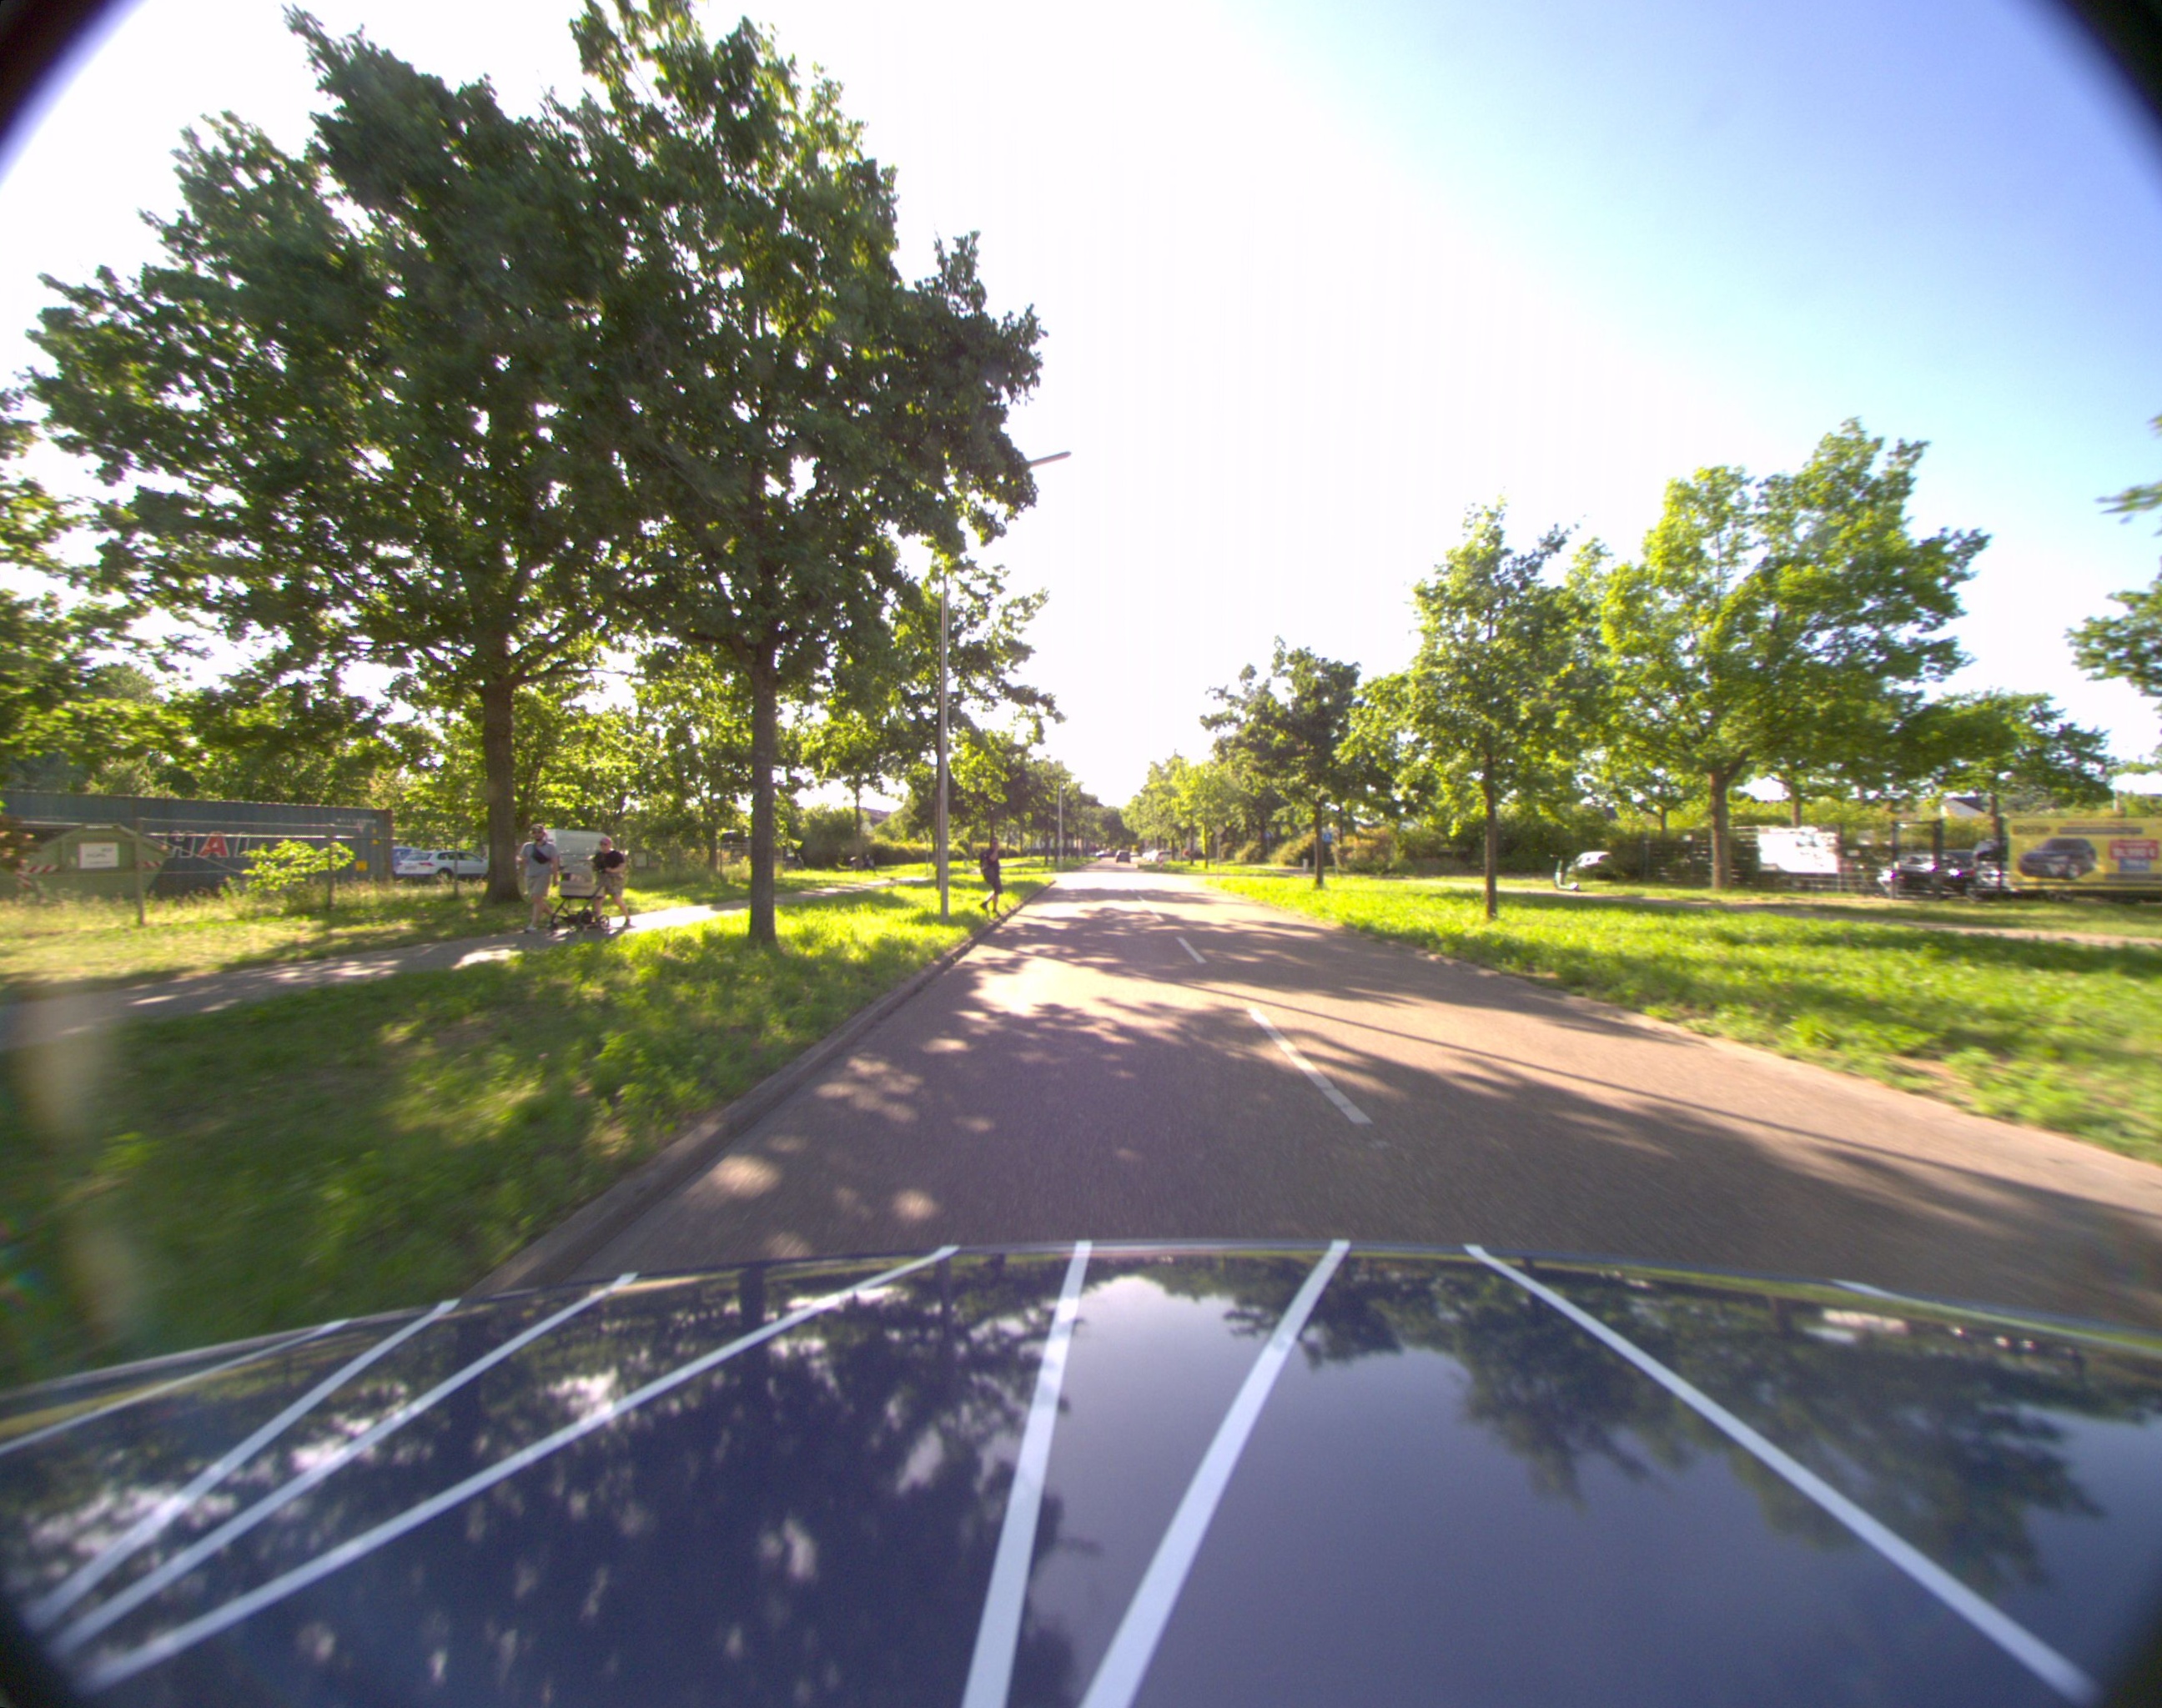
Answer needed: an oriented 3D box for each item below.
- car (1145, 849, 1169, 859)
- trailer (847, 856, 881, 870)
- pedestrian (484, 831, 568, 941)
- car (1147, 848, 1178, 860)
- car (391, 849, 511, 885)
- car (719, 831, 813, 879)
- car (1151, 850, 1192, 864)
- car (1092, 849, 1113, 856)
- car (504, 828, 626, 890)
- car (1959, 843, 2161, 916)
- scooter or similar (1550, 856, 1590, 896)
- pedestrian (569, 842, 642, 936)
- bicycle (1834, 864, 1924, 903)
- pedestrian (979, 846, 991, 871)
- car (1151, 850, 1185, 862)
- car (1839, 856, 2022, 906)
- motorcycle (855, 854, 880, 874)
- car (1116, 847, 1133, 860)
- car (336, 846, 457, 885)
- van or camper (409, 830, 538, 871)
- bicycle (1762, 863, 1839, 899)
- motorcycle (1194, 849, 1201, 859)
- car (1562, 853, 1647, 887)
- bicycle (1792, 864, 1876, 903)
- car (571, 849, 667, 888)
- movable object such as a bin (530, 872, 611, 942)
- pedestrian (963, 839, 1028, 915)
[{"bbox_3d":[13.110,-0.016,131.760,4.071,1.633,1.877,-1,0,6],"label":"car"},{"bbox_3d":[-16.384,0.699,57.428,1.581,0.864,2.055,0,4,13],"label":"trailer"},{"bbox_3d":[-9.148,0.508,12.556,0.727,1.745,0.867,0,1,1],"label":"pedestrian"},{"bbox_3d":[11.952,-0.028,111.106,4.422,1.547,2.089,-1,0,5],"label":"car"},{"bbox_3d":[-30.183,0.571,36.541,1.836,1.630,4.006,0,0,22],"label":"car"},{"bbox_3d":[-18.636,0.158,45.316,2.087,2.550,5.980,-1,-3,13],"label":"car"},{"bbox_3d":[10.723,0.311,90.157,4.638,1.549,2.191,-1,0,-1],"label":"car"},{"bbox_3d":[4.697,-0.293,167.704,4.510,1.471,1.942,0,1,5],"label":"car"},{"bbox_3d":[-23.232,0.202,34.493,2.165,2.628,4.851,0,0,1],"label":"car"},{"bbox_3d":[26.475,0.650,19.969,4.023,1.773,2.027,-1,0,12],"label":"car"},{"bbox_3d":[16.038,0.709,24.944,0.396,1.272,1.441,0,1,2],"label":"scooter or similar"},{"bbox_3d":[-8.381,0.598,13.423,0.727,1.594,0.867,0,1,1],"label":"pedestrian"},{"bbox_3d":[23.387,0.846,22.319,0.641,1.081,1.891,0,0,1],"label":"bicycle"},{"bbox_3d":[-6.876,0.309,54.238,0.727,1.802,0.867,0,1,1],"label":"pedestrian"},{"bbox_3d":[11.519,0.237,100.830,4.422,1.502,2.088,-1,0,3],"label":"car"},{"bbox_3d":[26.790,0.791,24.191,1.798,1.440,4.003,0,0,10],"label":"car"},{"bbox_3d":[-15.610,0.730,55.527,0.664,1.225,2.407,0,5,13],"label":"motorcycle"},{"bbox_3d":[5.390,-0.108,94.334,1.809,1.528,4.495,1,0,0],"label":"car"},{"bbox_3d":[-33.428,0.509,37.260,1.997,1.812,4.003,0,0,9],"label":"car"},{"bbox_3d":[-40.300,-0.261,50.767,2.184,2.560,6.784,0,1,14],"label":"van or camper"},{"bbox_3d":[22.732,0.834,24.045,0.641,1.081,1.891,0,0,1],"label":"bicycle"},{"bbox_3d":[16.944,-0.023,110.575,0.739,1.424,1.991,-3,0,4],"label":"motorcycle"},{"bbox_3d":[24.640,0.792,35.960,1.996,1.495,3.922,0,-2,13],"label":"car"},{"bbox_3d":[22.394,0.846,22.644,0.641,1.081,1.891,0,0,1],"label":"bicycle"},{"bbox_3d":[-20.594,0.601,34.046,2.010,1.654,3.597,0,0,1],"label":"car"},{"bbox_3d":[-8.409,0.862,12.558,0.727,1.075,0.867,2,1,1],"label":"movable object such as a bin"},{"bbox_3d":[-1.915,0.490,17.017,1.101,1.642,1.020,0,1,-35],"label":"pedestrian"}]
